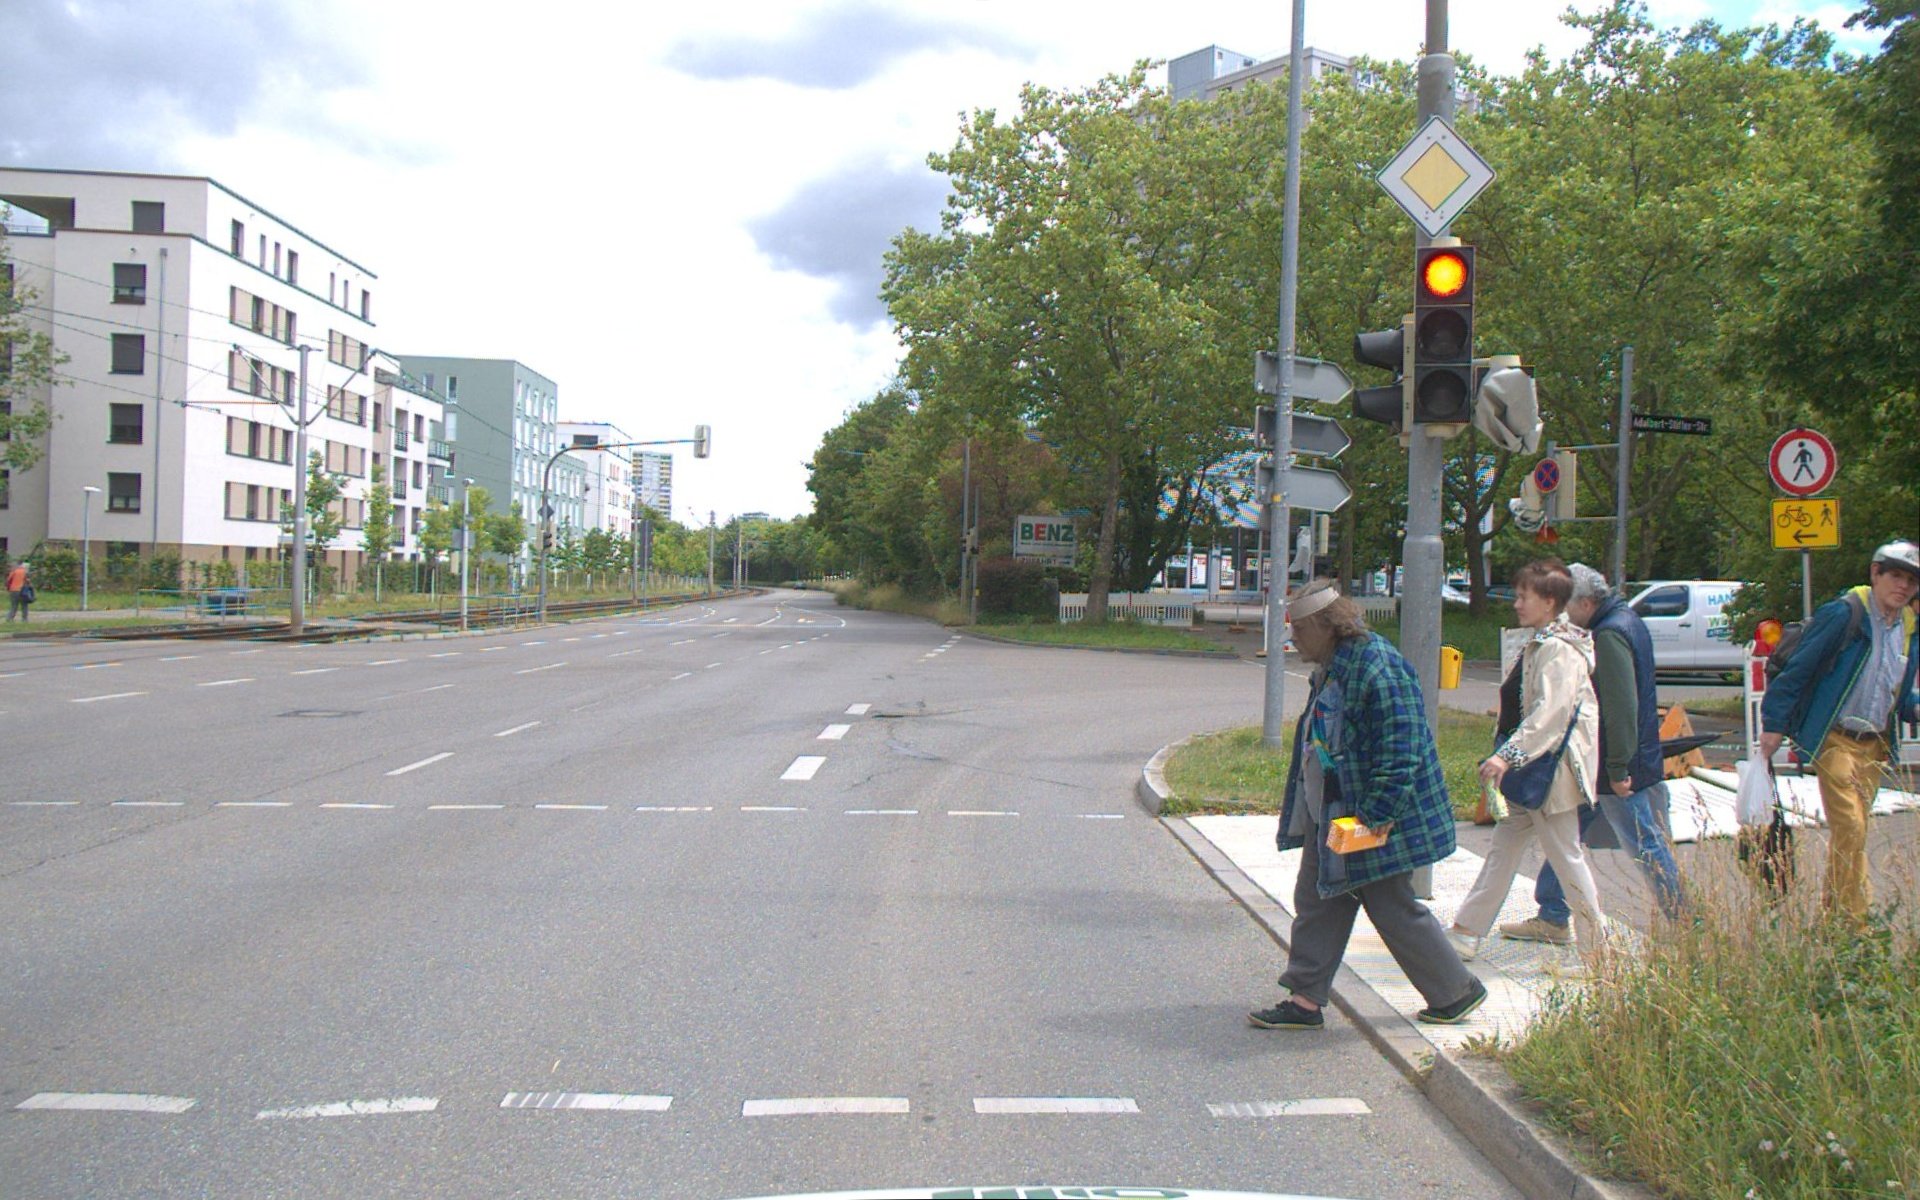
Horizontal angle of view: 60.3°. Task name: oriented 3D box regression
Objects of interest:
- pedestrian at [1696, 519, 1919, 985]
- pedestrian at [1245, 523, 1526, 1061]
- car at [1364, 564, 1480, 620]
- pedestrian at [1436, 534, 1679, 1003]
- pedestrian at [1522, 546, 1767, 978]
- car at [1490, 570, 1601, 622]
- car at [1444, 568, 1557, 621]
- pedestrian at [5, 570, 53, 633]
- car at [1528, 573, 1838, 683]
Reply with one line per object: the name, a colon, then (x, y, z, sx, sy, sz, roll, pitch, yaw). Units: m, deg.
pedestrian: (3.862, 0.583, 7.027, 0.938, 1.805, 1.000, 0, 0, -36)
pedestrian: (1.420, 0.605, 5.656, 0.805, 1.700, 0.734, 1, 0, 6)
car: (17.520, -0.310, 62.839, 1.974, 2.049, 3.957, 0, 1, -32)
pedestrian: (2.264, 0.593, 6.360, 0.805, 1.668, 0.734, 1, 0, 16)
pedestrian: (2.810, 0.617, 6.879, 0.850, 1.663, 0.766, 1, 0, 18)
car: (23.931, -0.177, 67.709, 1.974, 2.049, 3.957, 0, 1, -32)
car: (21.364, -0.230, 65.473, 1.974, 2.049, 3.957, 0, 1, -32)
pedestrian: (-23.136, 0.034, 41.098, 0.814, 1.542, 0.636, 1, 0, -1)
car: (13.427, 0.502, 30.872, 4.976, 1.906, 1.947, 1, 0, -5)
